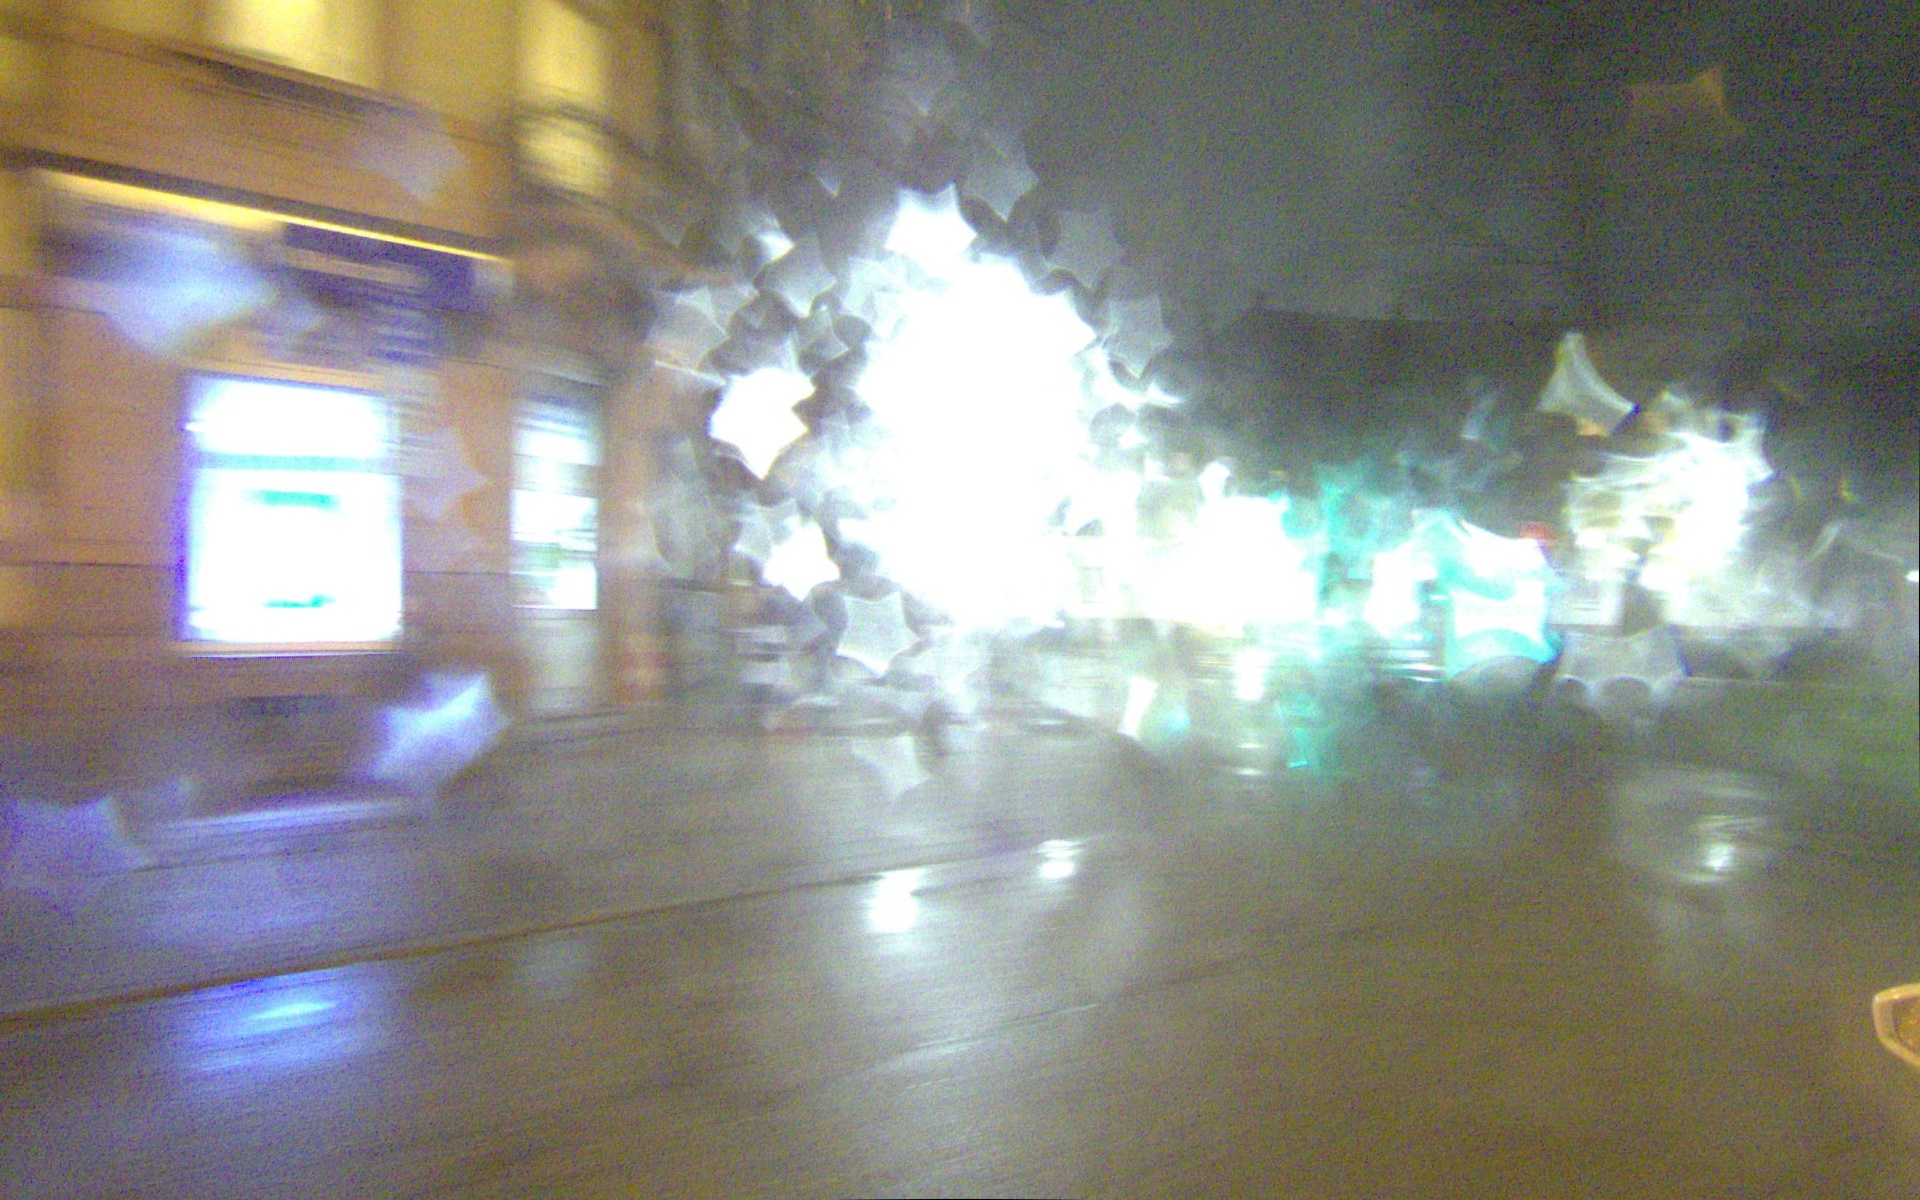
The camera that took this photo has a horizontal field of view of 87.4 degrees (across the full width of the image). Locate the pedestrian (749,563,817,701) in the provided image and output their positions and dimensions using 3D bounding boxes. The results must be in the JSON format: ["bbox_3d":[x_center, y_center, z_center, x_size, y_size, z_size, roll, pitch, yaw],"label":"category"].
[{"bbox_3d":[-2.454,0.421,14.027,0.680,1.845,0.947,2,2,3],"label":"pedestrian"}]

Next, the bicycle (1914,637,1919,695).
[{"bbox_3d":[16.493,1.130,16.010,1.754,0.944,0.498,3,2,34],"label":"bicycle"}]

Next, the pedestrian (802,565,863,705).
[{"bbox_3d":[-1.740,0.455,13.852,0.681,1.845,0.946,2,2,-2],"label":"pedestrian"}]

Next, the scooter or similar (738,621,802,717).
[{"bbox_3d":[-2.461,0.881,13.083,0.561,1.141,0.933,2,2,4],"label":"scooter or similar"}]
